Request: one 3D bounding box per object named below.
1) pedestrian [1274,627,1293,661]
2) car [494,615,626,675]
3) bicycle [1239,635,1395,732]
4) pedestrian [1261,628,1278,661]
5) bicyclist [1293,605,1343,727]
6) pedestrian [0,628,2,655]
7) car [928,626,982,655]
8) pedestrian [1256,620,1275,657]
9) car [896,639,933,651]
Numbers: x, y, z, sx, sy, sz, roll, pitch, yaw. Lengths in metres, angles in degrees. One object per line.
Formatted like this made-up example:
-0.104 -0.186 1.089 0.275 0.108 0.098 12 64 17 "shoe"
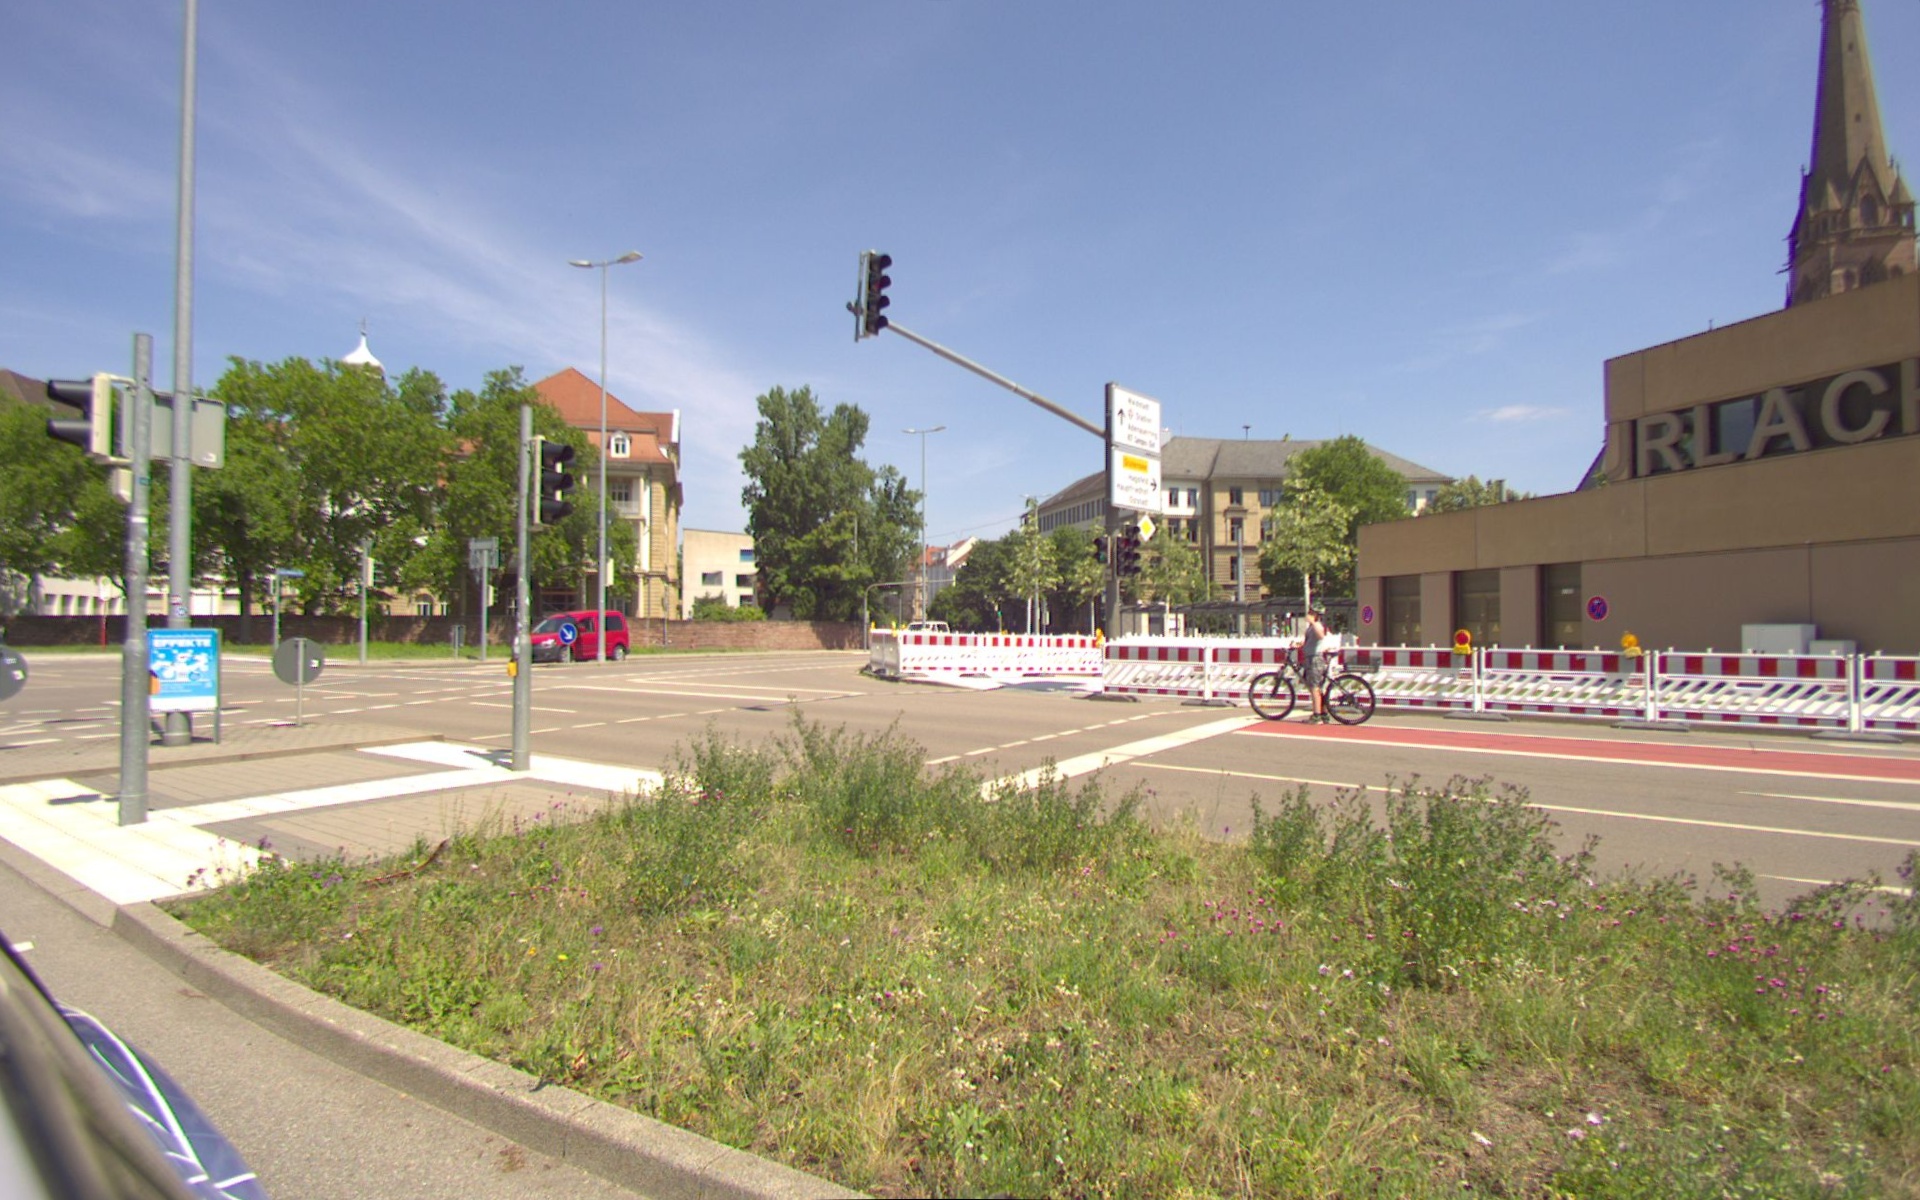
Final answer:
17.355 2.371 54.263 0.634 1.802 0.639 -1 -3 -16 "pedestrian"
-12.876 1.453 32.849 1.817 1.780 4.258 -3 -3 15 "car"
4.742 1.079 13.531 1.895 1.189 0.518 -1 -2 37 "bicycle"
16.900 2.429 55.241 0.531 1.769 0.661 -1 -3 -25 "pedestrian"
4.780 0.863 13.516 0.497 1.591 0.524 -1 -2 37 "bicyclist"
-62.276 2.669 65.242 0.519 1.734 0.590 -2 -3 -4 "pedestrian"
-0.293 2.578 65.176 1.918 1.808 4.998 -1 -2 20 "car"
16.277 2.061 53.885 0.681 1.920 0.578 -1 -3 -17 "pedestrian"
-5.833 5.771 130.809 4.398 1.439 1.807 1 -2 23 "car"
